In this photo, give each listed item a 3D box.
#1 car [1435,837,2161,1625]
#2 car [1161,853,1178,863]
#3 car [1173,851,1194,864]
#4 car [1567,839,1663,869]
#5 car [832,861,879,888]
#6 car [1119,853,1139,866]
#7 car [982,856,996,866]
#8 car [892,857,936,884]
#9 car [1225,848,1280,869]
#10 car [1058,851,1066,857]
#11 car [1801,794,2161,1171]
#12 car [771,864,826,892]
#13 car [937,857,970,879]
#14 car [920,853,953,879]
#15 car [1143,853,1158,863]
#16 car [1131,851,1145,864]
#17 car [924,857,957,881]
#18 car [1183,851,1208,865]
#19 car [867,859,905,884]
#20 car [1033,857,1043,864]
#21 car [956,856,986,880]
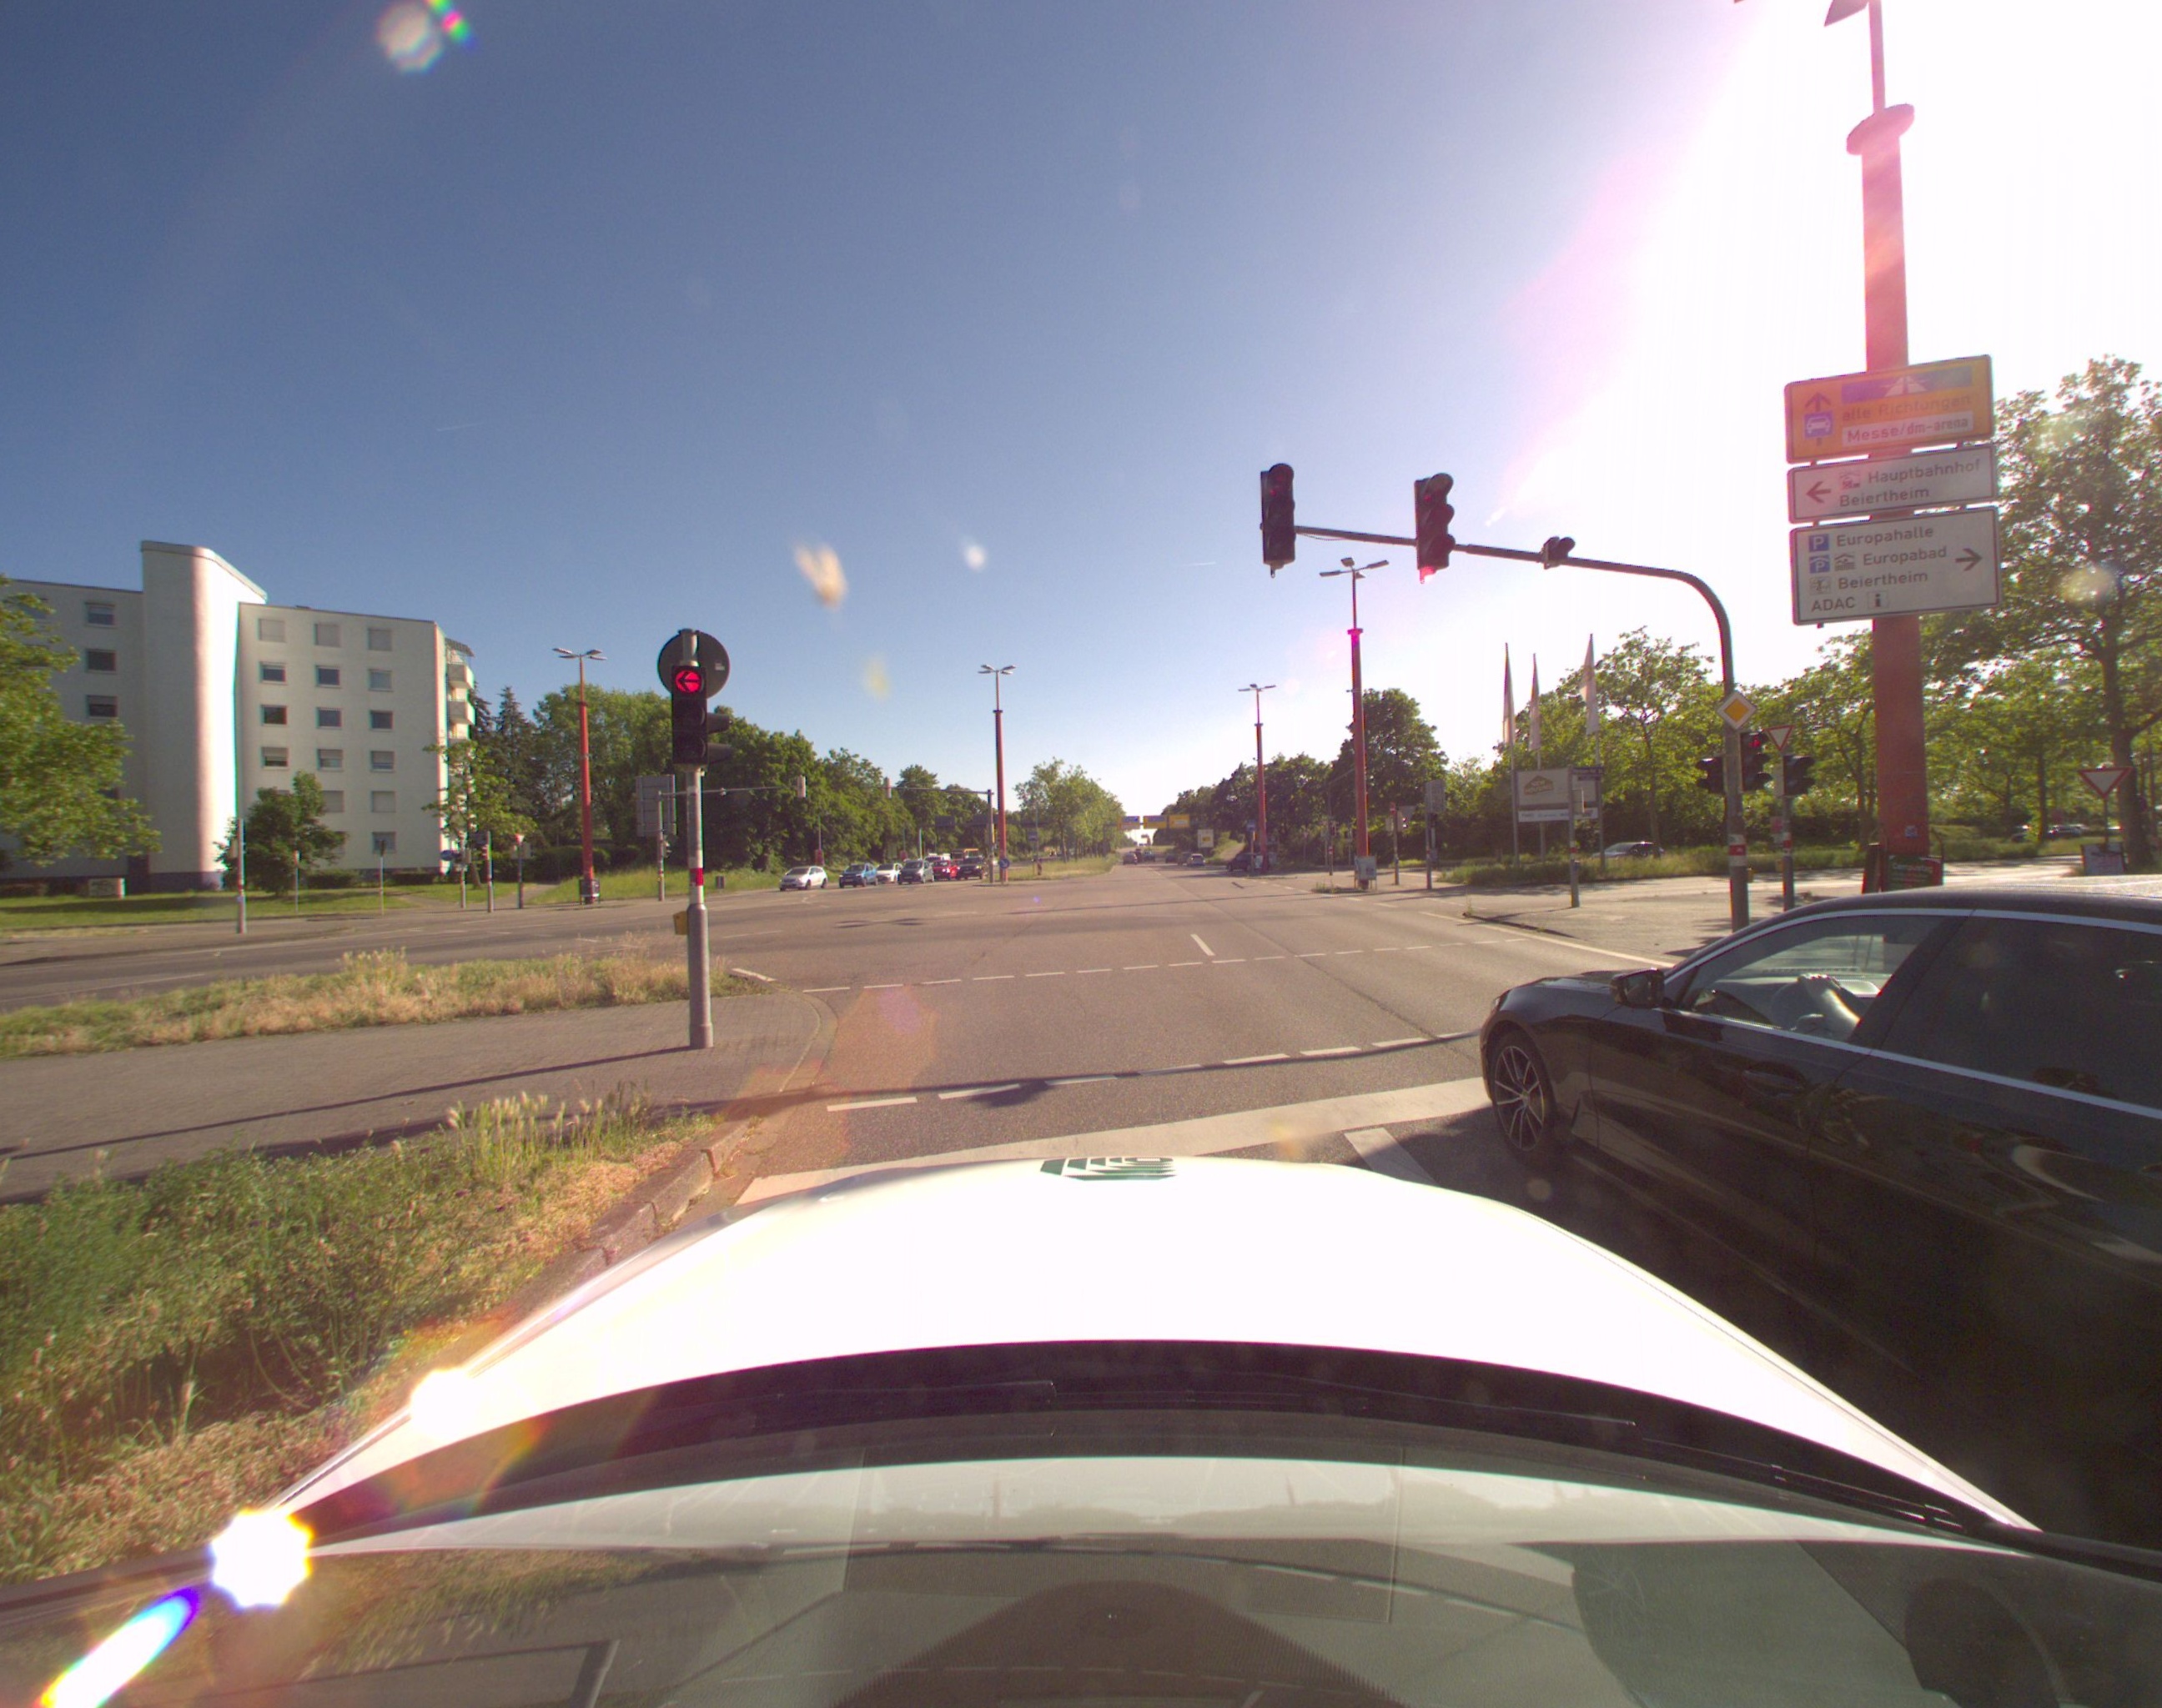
[{"bbox_3d":[2.955,0.667,2.374,1.986,1.394,4.479,-2,0,2],"label":"car"},{"bbox_3d":[13.391,0.634,123.120,1.948,1.442,4.277,-2,0,-2],"label":"car"},{"bbox_3d":[13.455,0.492,107.260,2.153,1.573,4.277,-2,0,-2],"label":"car"},{"bbox_3d":[27.944,0.012,42.623,4.276,1.428,1.874,-2,0,-16],"label":"car"},{"bbox_3d":[-14.237,1.284,51.641,1.989,1.573,4.116,-2,0,-3],"label":"car"},{"bbox_3d":[6.444,0.708,109.249,2.241,1.573,4.276,-2,0,-3],"label":"car"},{"bbox_3d":[-15.761,1.132,139.229,1.988,1.573,4.118,-2,0,-1],"label":"car"},{"bbox_3d":[-10.733,1.046,52.581,1.988,1.573,4.119,-2,0,-1],"label":"car"},{"bbox_3d":[13.650,0.366,65.124,2.170,1.573,4.244,-2,0,-26],"label":"car"},{"bbox_3d":[-5.433,0.021,233.811,1.877,1.454,3.658,-2,0,2],"label":"car"},{"bbox_3d":[5.801,0.562,3.263,1.959,1.686,4.479,-1,0,2],"label":"car"},{"bbox_3d":[-17.694,1.466,51.181,1.987,1.573,4.120,-2,0,0],"label":"car"},{"bbox_3d":[-10.067,1.093,64.654,1.988,1.573,4.118,-2,0,-1],"label":"car"},{"bbox_3d":[-12.736,1.053,71.987,2.055,2.193,4.377,-2,0,0],"label":"car"},{"bbox_3d":[12.013,0.655,141.435,2.153,1.573,4.277,-2,0,-2],"label":"car"},{"bbox_3d":[8.947,0.548,128.037,1.986,2.013,4.002,-2,0,2],"label":"car"},{"bbox_3d":[-10.104,1.046,58.872,1.991,1.573,4.112,-2,0,-6],"label":"car"},{"bbox_3d":[13.162,0.474,93.969,2.153,1.573,4.277,-2,0,-2],"label":"car"},{"bbox_3d":[-13.739,1.216,57.524,1.991,1.573,4.112,-3,0,-6],"label":"car"},{"bbox_3d":[-9.424,1.404,180.159,1.987,1.573,4.120,-2,0,0],"label":"car"},{"bbox_3d":[-7.566,0.939,56.490,1.874,1.573,4.112,-2,0,-6],"label":"car"}]
